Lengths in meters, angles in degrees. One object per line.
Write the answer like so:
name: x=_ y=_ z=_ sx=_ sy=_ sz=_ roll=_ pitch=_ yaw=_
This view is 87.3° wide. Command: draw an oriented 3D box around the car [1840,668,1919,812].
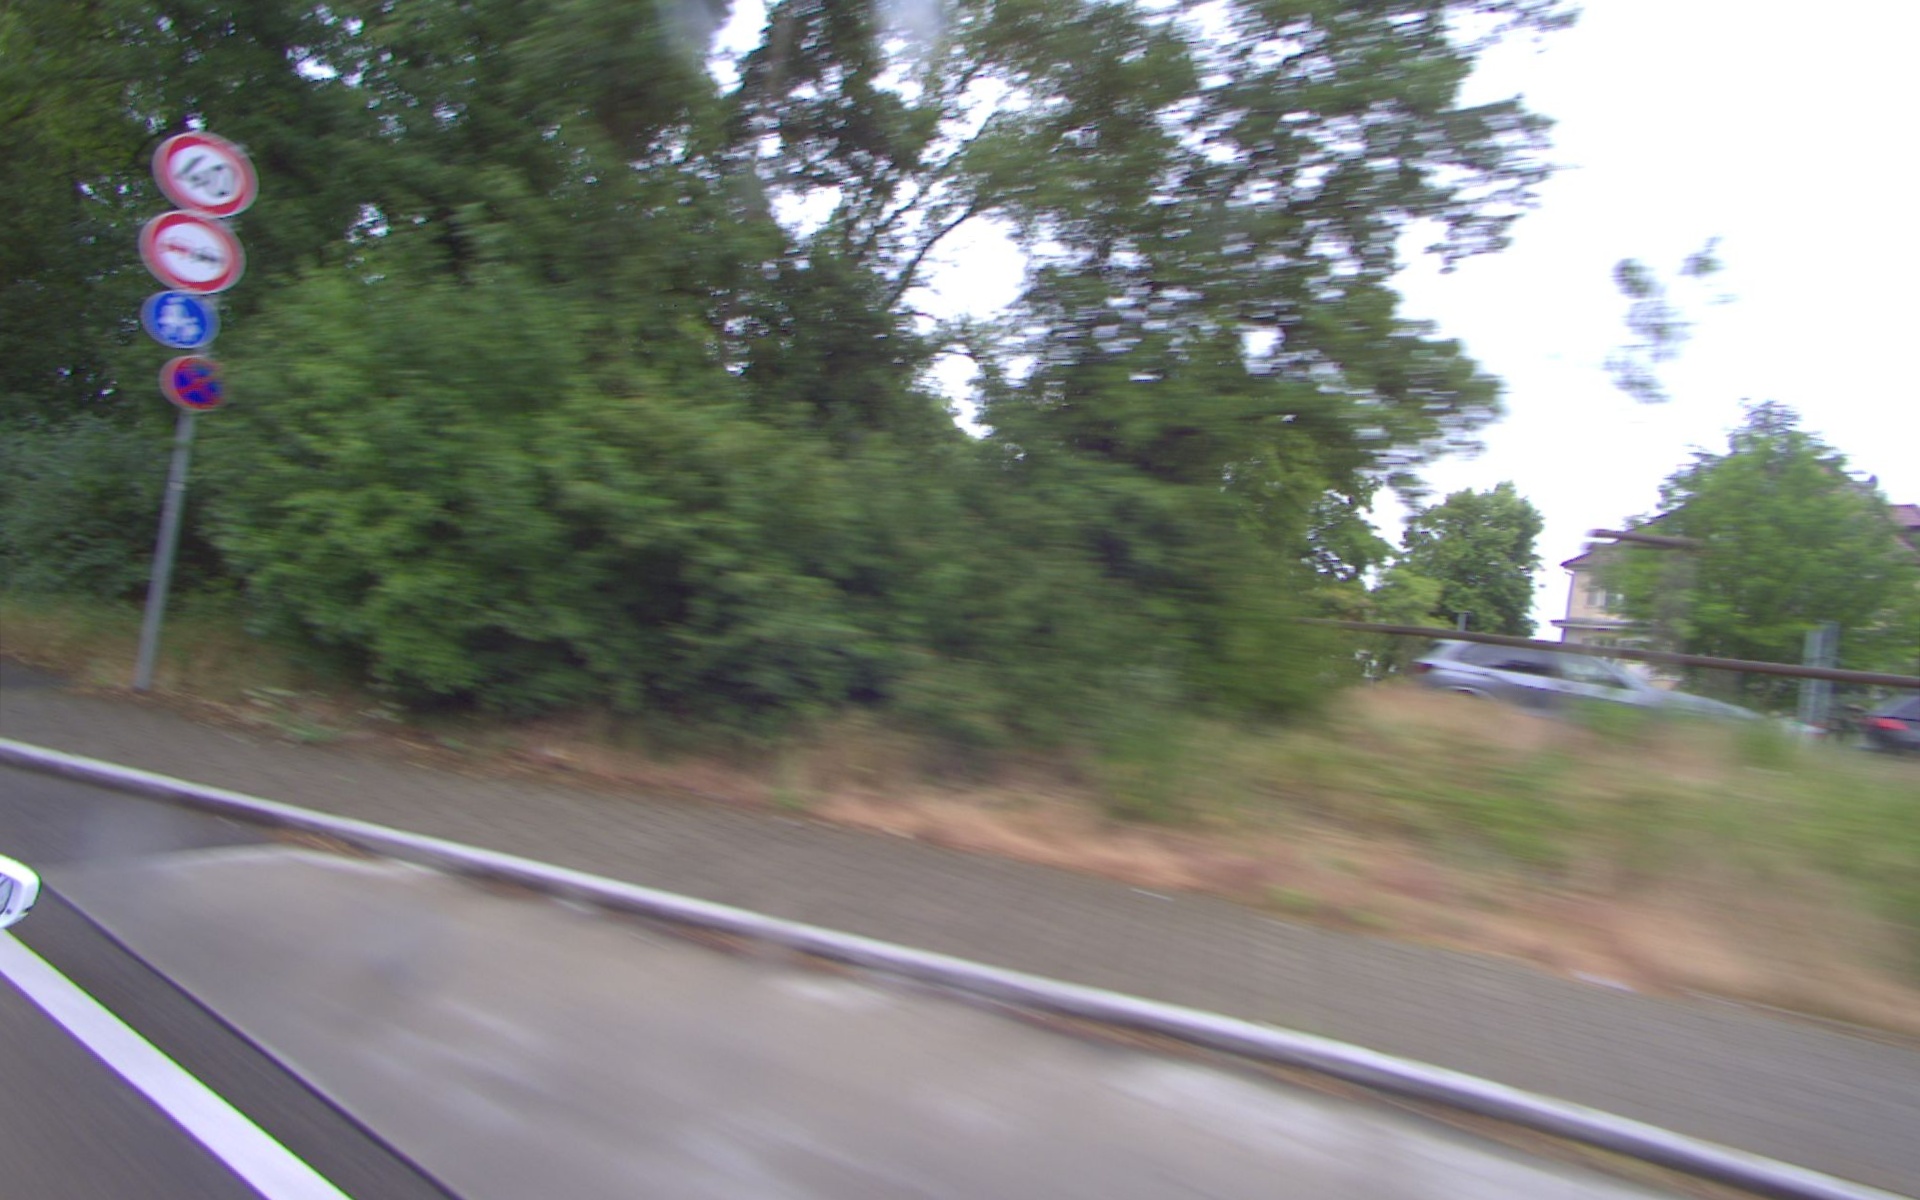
car: x=14.027 y=2.083 z=12.485 sx=4.406 sy=1.678 sz=1.997 roll=7 pitch=-5 yaw=39

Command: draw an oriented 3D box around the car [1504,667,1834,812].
car: x=12.346 y=2.413 z=17.762 sx=4.406 sy=1.678 sz=1.997 roll=7 pitch=-5 yaw=39

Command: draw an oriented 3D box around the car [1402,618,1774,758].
car: x=9.853 y=1.345 z=16.021 sx=4.714 sy=1.494 sz=1.888 roll=5 pitch=-6 yaw=40
